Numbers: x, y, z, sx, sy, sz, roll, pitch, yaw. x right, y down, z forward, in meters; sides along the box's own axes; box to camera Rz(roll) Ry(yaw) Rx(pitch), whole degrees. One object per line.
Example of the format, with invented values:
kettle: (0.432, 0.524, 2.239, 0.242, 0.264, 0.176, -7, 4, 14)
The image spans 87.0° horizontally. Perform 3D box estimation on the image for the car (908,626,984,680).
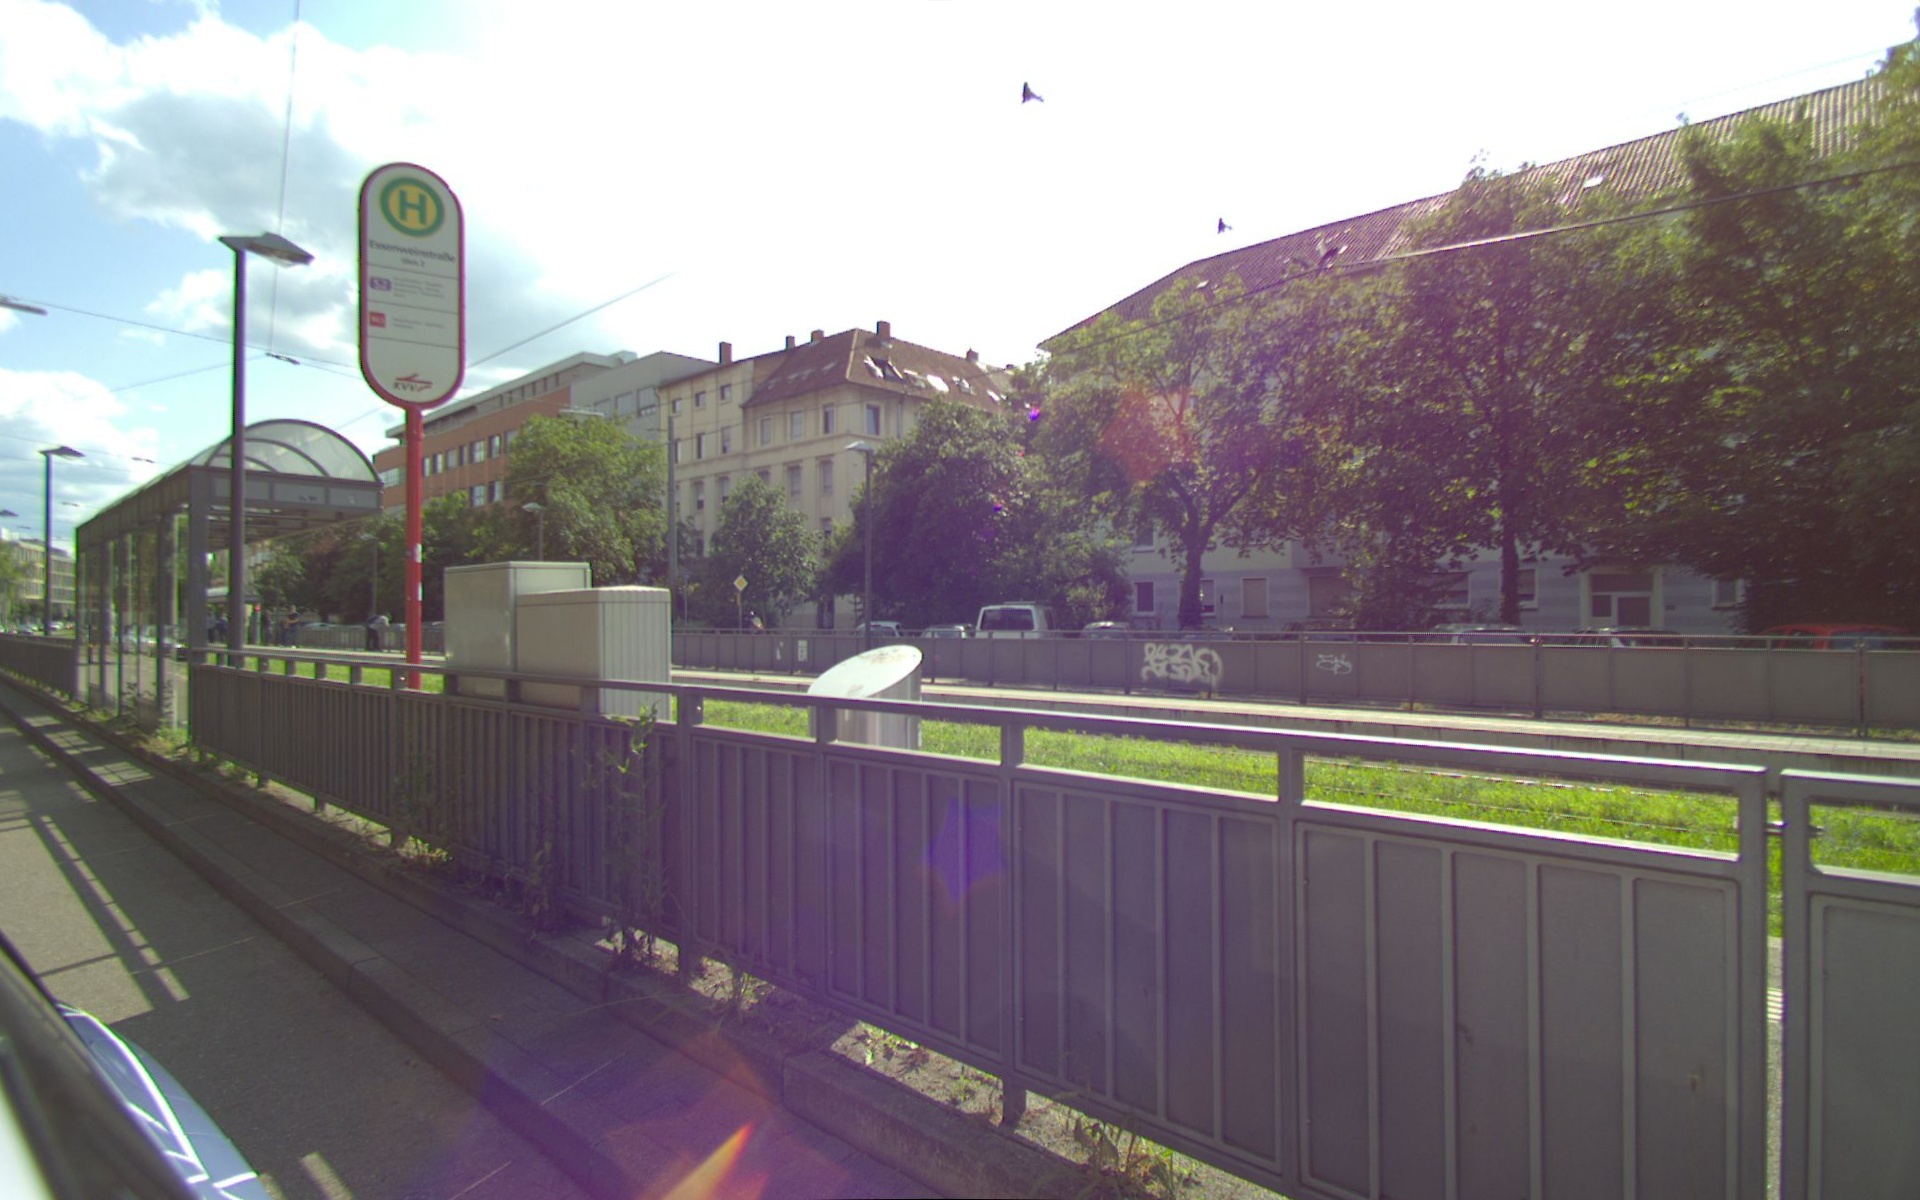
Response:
car: (-0.352, 1.528, 30.154, 1.591, 1.497, 3.988, -1, -1, 9)

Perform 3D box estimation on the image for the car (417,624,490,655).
car: (-28.359, 2.171, 56.772, 1.811, 1.652, 4.132, 0, -1, 3)

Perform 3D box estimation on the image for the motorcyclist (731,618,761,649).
motorcyclist: (-9.617, 1.509, 45.444, 0.987, 1.349, 0.928, -2, -3, 44)

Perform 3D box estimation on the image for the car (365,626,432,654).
car: (-34.676, 2.444, 62.611, 1.652, 1.540, 3.992, -2, 0, 6)

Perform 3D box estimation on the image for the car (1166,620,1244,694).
car: (5.729, 1.292, 23.928, 1.632, 1.591, 3.652, -1, -2, 12)

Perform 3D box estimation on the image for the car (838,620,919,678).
car: (-2.500, 1.488, 31.804, 1.805, 1.652, 3.992, -2, -2, 6)

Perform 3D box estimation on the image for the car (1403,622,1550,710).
car: (9.896, 1.198, 19.703, 1.593, 1.525, 4.011, -1, -1, 13)

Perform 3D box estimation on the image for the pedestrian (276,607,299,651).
pedestrian: (-29.789, 1.287, 44.816, 0.742, 1.906, 0.639, 1, 0, -45)

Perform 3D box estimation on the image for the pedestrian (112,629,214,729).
pedestrian: (-9.083, 0.885, 11.564, 0.652, 1.080, 0.725, 0, -2, -13)

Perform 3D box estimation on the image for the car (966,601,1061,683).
car: (1.543, 1.123, 27.774, 2.029, 2.086, 3.937, -1, -2, 12)

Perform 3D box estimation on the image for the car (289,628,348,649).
car: (-47.926, 2.861, 75.658, 1.631, 1.508, 3.993, -1, -1, 6)

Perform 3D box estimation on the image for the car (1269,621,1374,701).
car: (7.784, 1.265, 22.071, 1.632, 1.591, 3.652, -1, -2, 12)

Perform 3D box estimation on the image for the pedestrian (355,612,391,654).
pedestrian: (-22.833, 1.268, 39.365, 0.798, 1.590, 0.978, -1, -2, 40)

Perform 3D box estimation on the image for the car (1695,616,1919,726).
car: (13.870, 1.075, 16.513, 1.632, 1.591, 3.652, -1, -2, 12)

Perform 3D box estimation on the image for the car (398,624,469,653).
car: (-30.490, 2.223, 58.731, 1.591, 1.580, 3.988, -1, -1, 9)

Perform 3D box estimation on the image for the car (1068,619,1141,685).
car: (3.848, 1.315, 26.482, 1.701, 1.591, 3.937, -1, -1, 11)

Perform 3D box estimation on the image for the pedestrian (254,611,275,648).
pedestrian: (-33.100, 1.402, 48.159, 0.599, 1.767, 0.626, 0, -1, -7)

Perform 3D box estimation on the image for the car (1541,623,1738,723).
car: (11.953, 1.211, 18.091, 1.632, 1.591, 3.652, -1, -2, 12)

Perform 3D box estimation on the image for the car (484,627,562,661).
car: (-21.498, 2.122, 49.941, 1.901, 1.576, 4.150, 0, -1, 2)

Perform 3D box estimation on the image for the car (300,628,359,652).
car: (-43.770, 2.756, 70.320, 1.569, 1.431, 3.299, -1, 1, 13)
